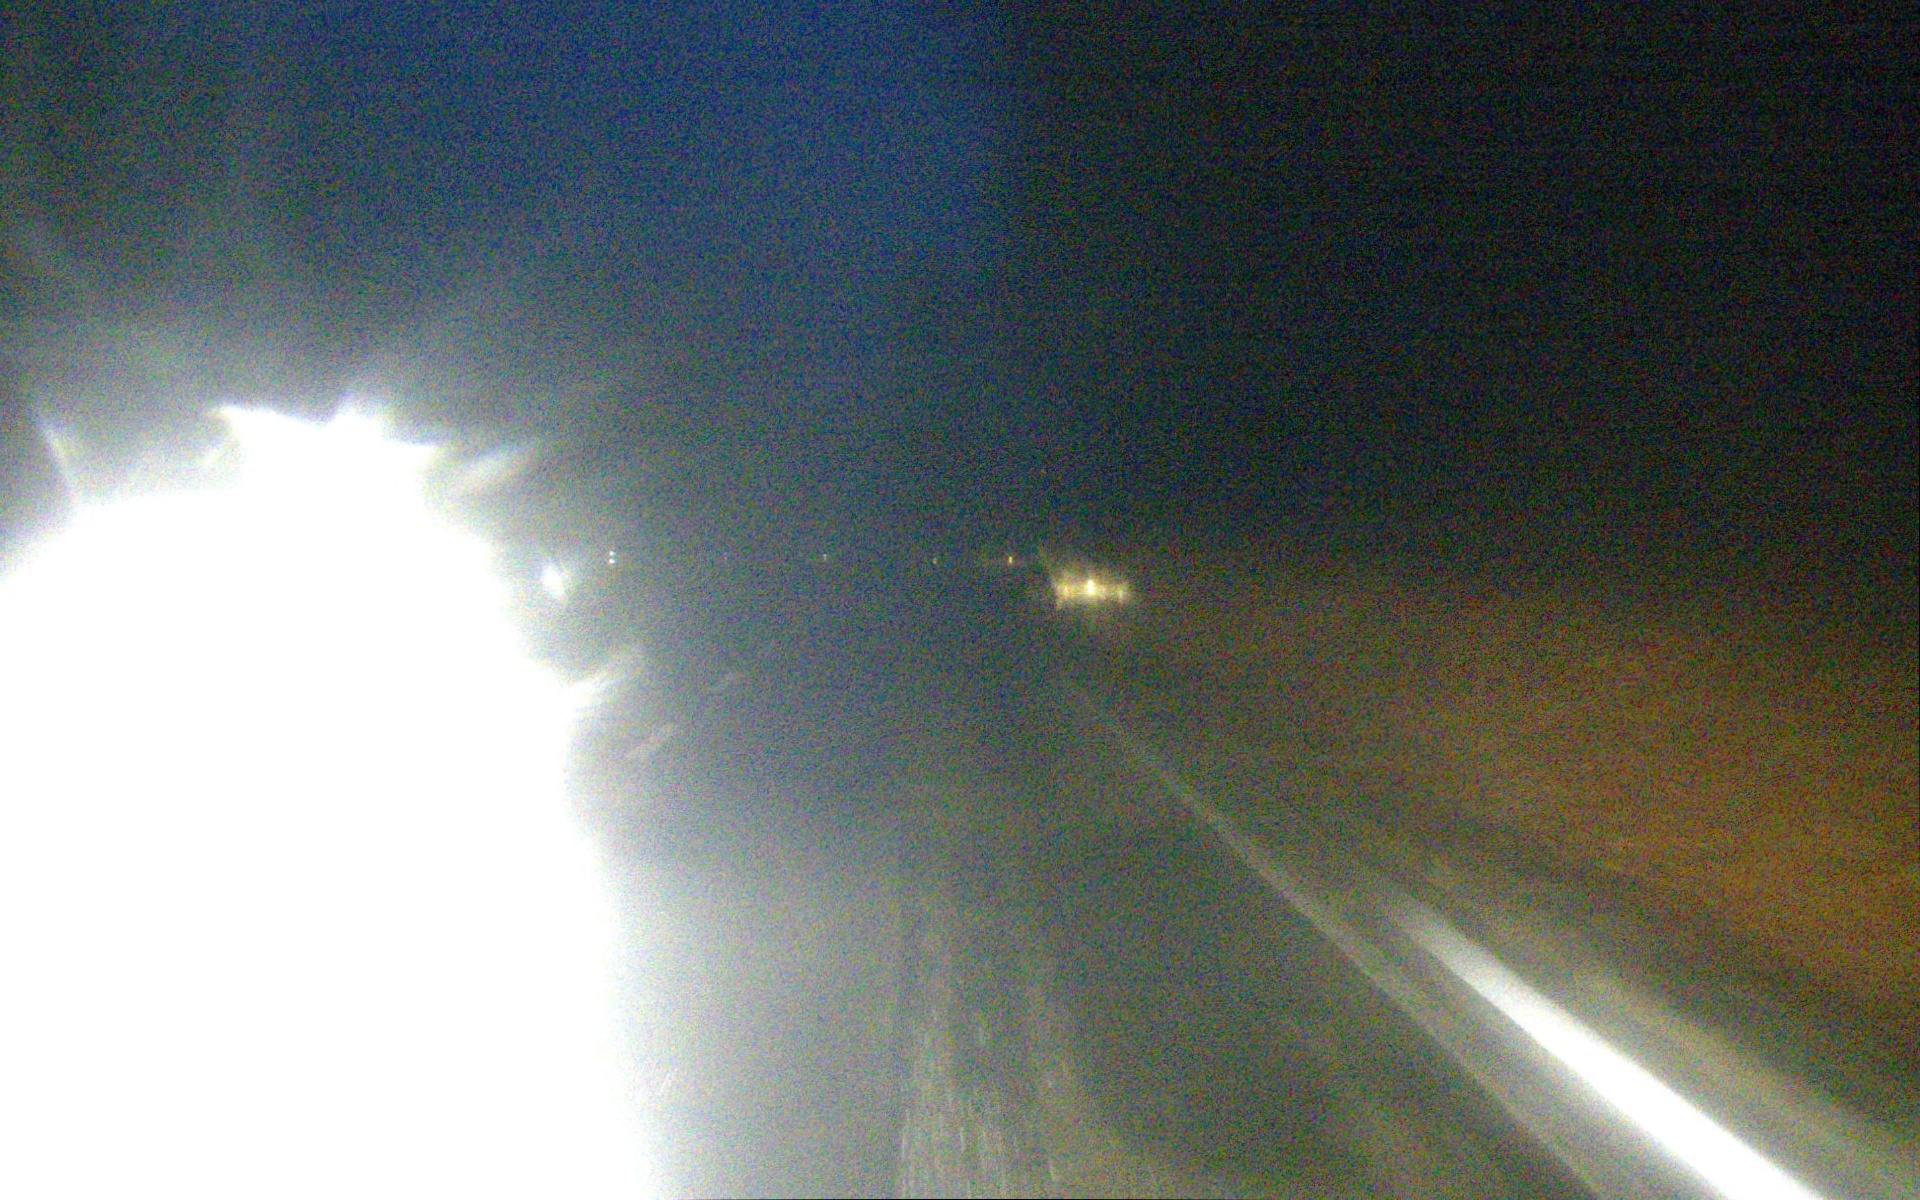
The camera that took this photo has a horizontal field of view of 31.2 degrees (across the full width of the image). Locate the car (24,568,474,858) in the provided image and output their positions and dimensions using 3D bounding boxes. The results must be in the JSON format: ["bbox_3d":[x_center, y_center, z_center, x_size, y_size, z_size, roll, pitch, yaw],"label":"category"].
[{"bbox_3d":[-4.081,0.598,20.435,1.836,1.466,4.392,2,0,-2],"label":"car"}]
